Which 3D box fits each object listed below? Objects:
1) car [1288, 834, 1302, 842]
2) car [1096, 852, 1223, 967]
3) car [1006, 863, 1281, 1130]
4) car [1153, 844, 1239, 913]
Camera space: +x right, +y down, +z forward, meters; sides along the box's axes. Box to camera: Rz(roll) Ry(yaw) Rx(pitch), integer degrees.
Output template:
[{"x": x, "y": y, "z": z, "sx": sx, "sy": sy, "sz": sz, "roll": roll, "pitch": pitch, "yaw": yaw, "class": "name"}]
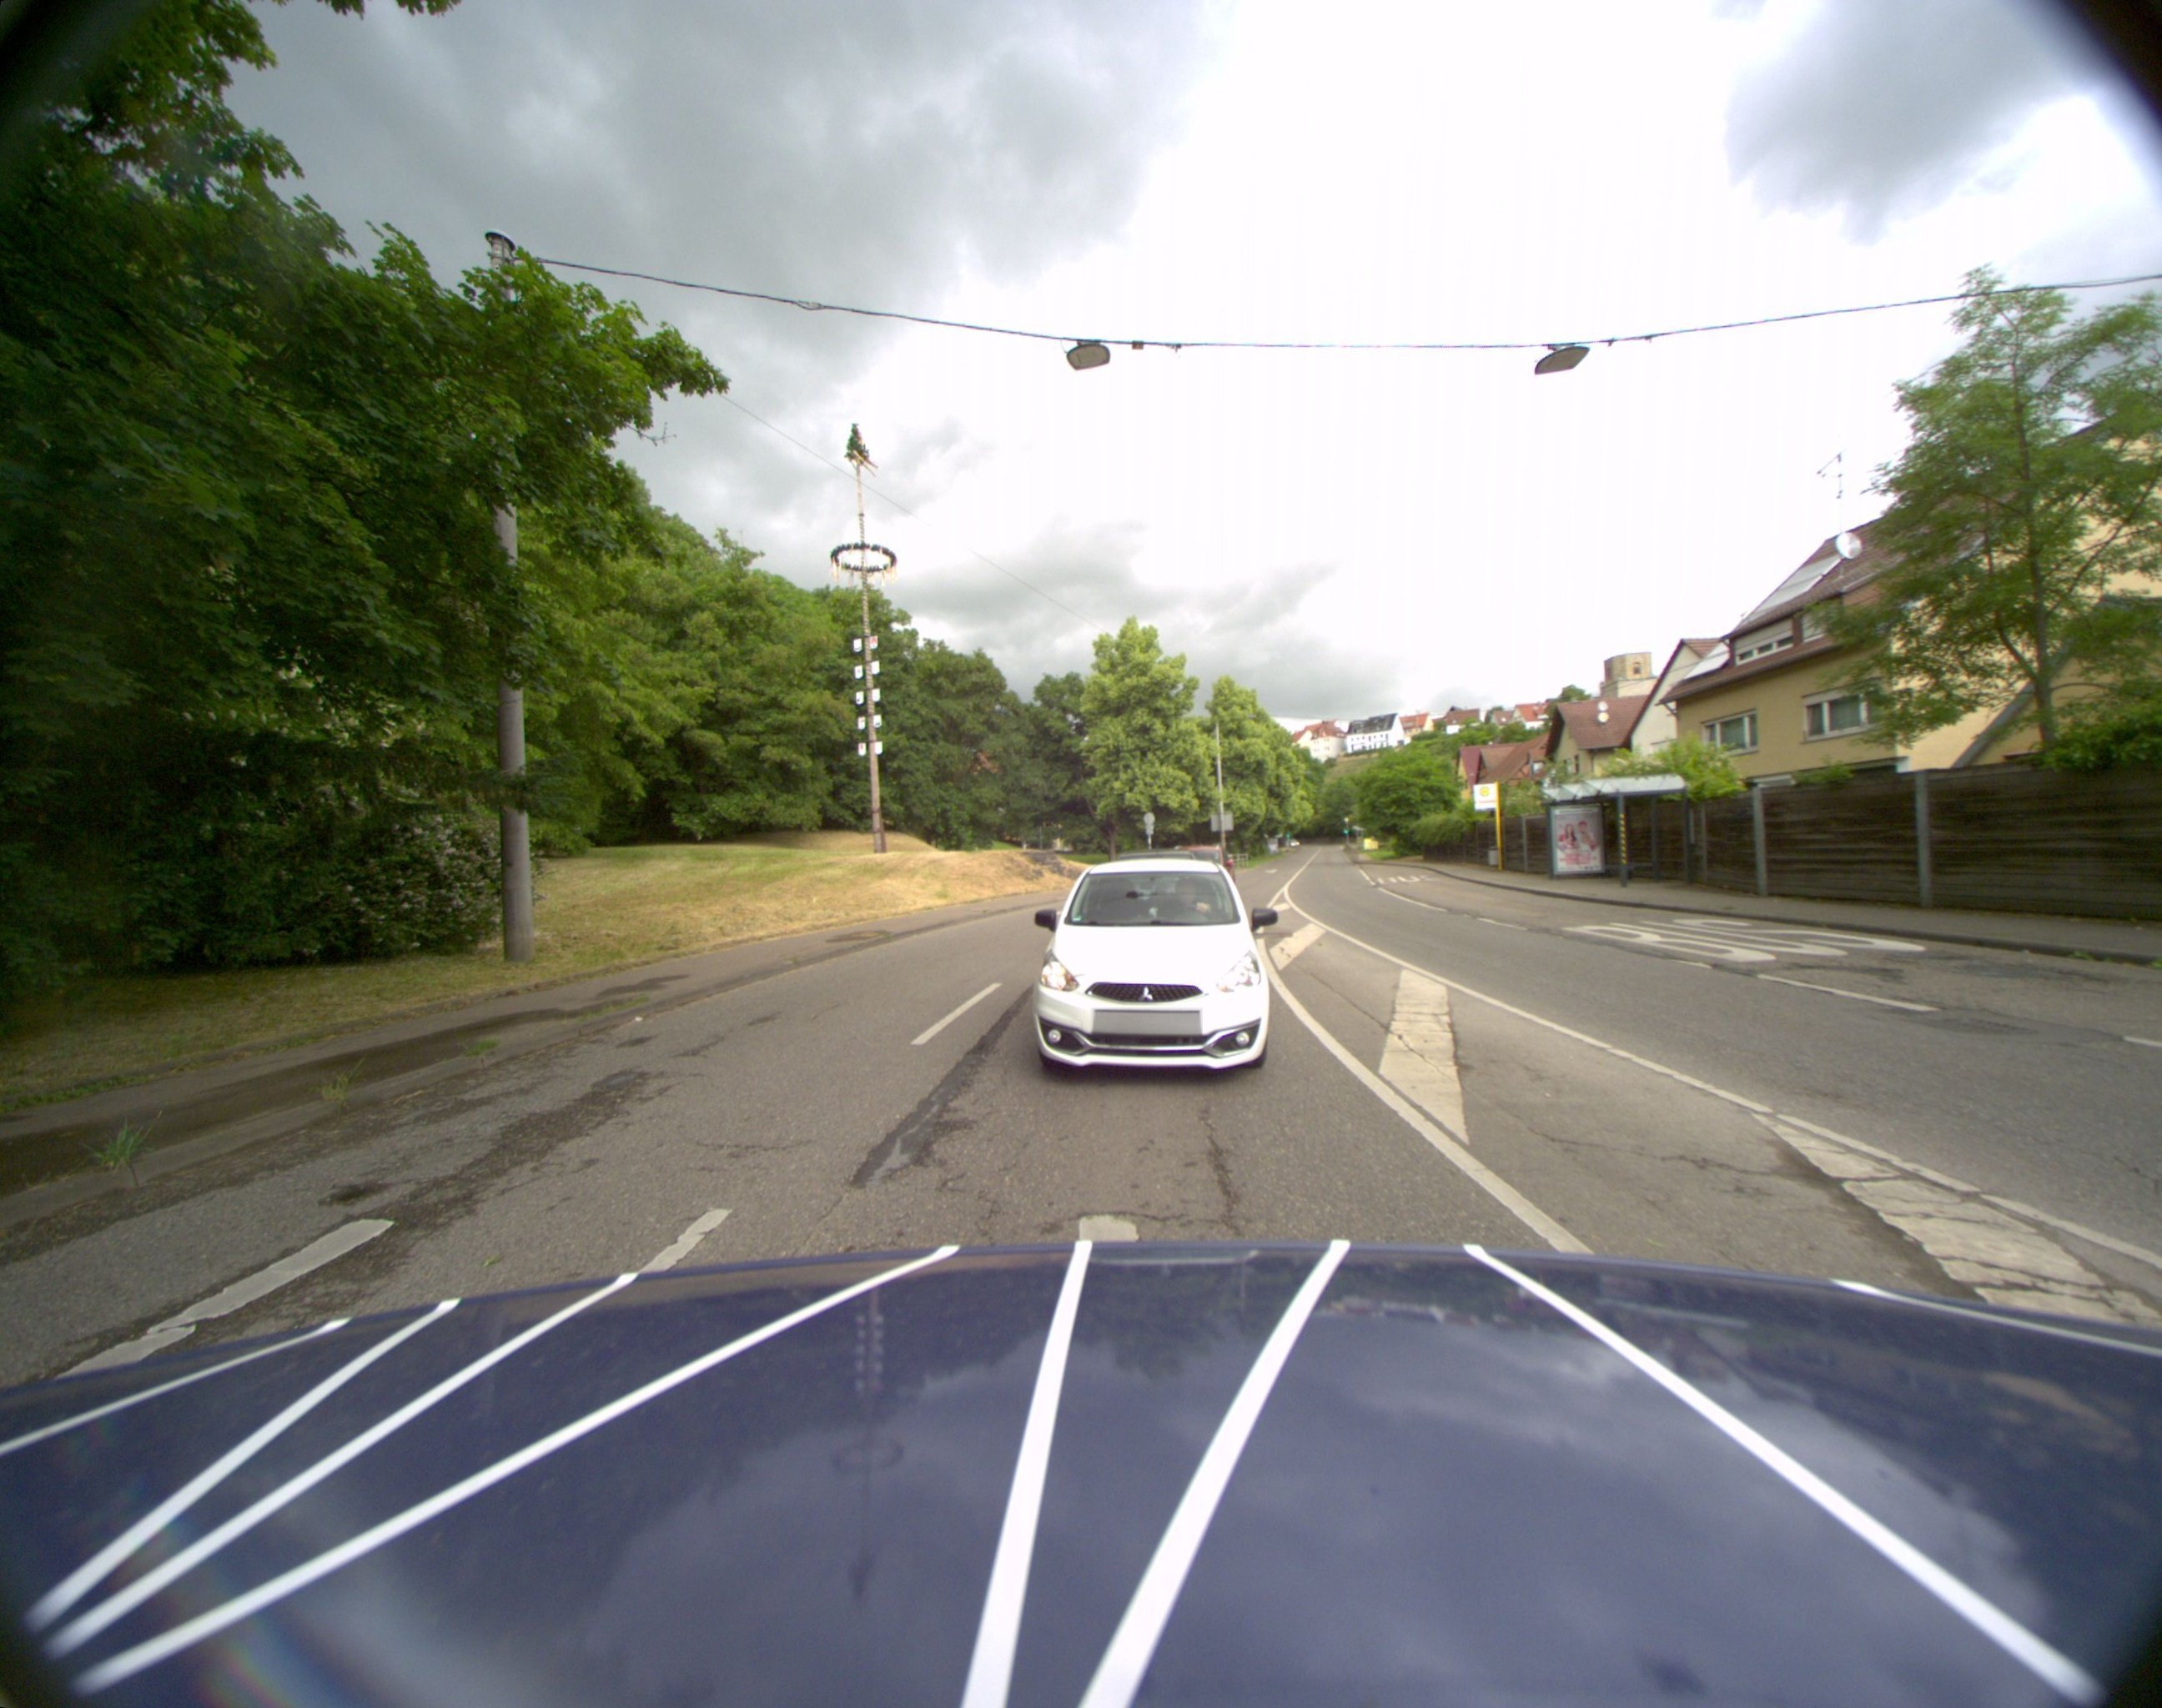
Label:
[{"x": 45.302, "y": -3.391, "z": 160.596, "sx": 1.846, "sy": 1.630, "sz": 4.000, "roll": -2, "pitch": 1, "yaw": 1, "class": "car"}, {"x": 1.396, "y": 0.789, "z": 12.588, "sx": 1.723, "sy": 1.539, "sz": 3.784, "roll": -2, "pitch": 1, "yaw": 9, "class": "car"}, {"x": 0.642, "y": 0.904, "z": 6.431, "sx": 1.617, "sy": 1.505, "sz": 3.607, "roll": -2, "pitch": 1, "yaw": 9, "class": "car"}, {"x": 3.294, "y": 0.593, "z": 21.162, "sx": 1.826, "sy": 1.662, "sz": 4.062, "roll": -2, "pitch": 1, "yaw": 15, "class": "car"}]
